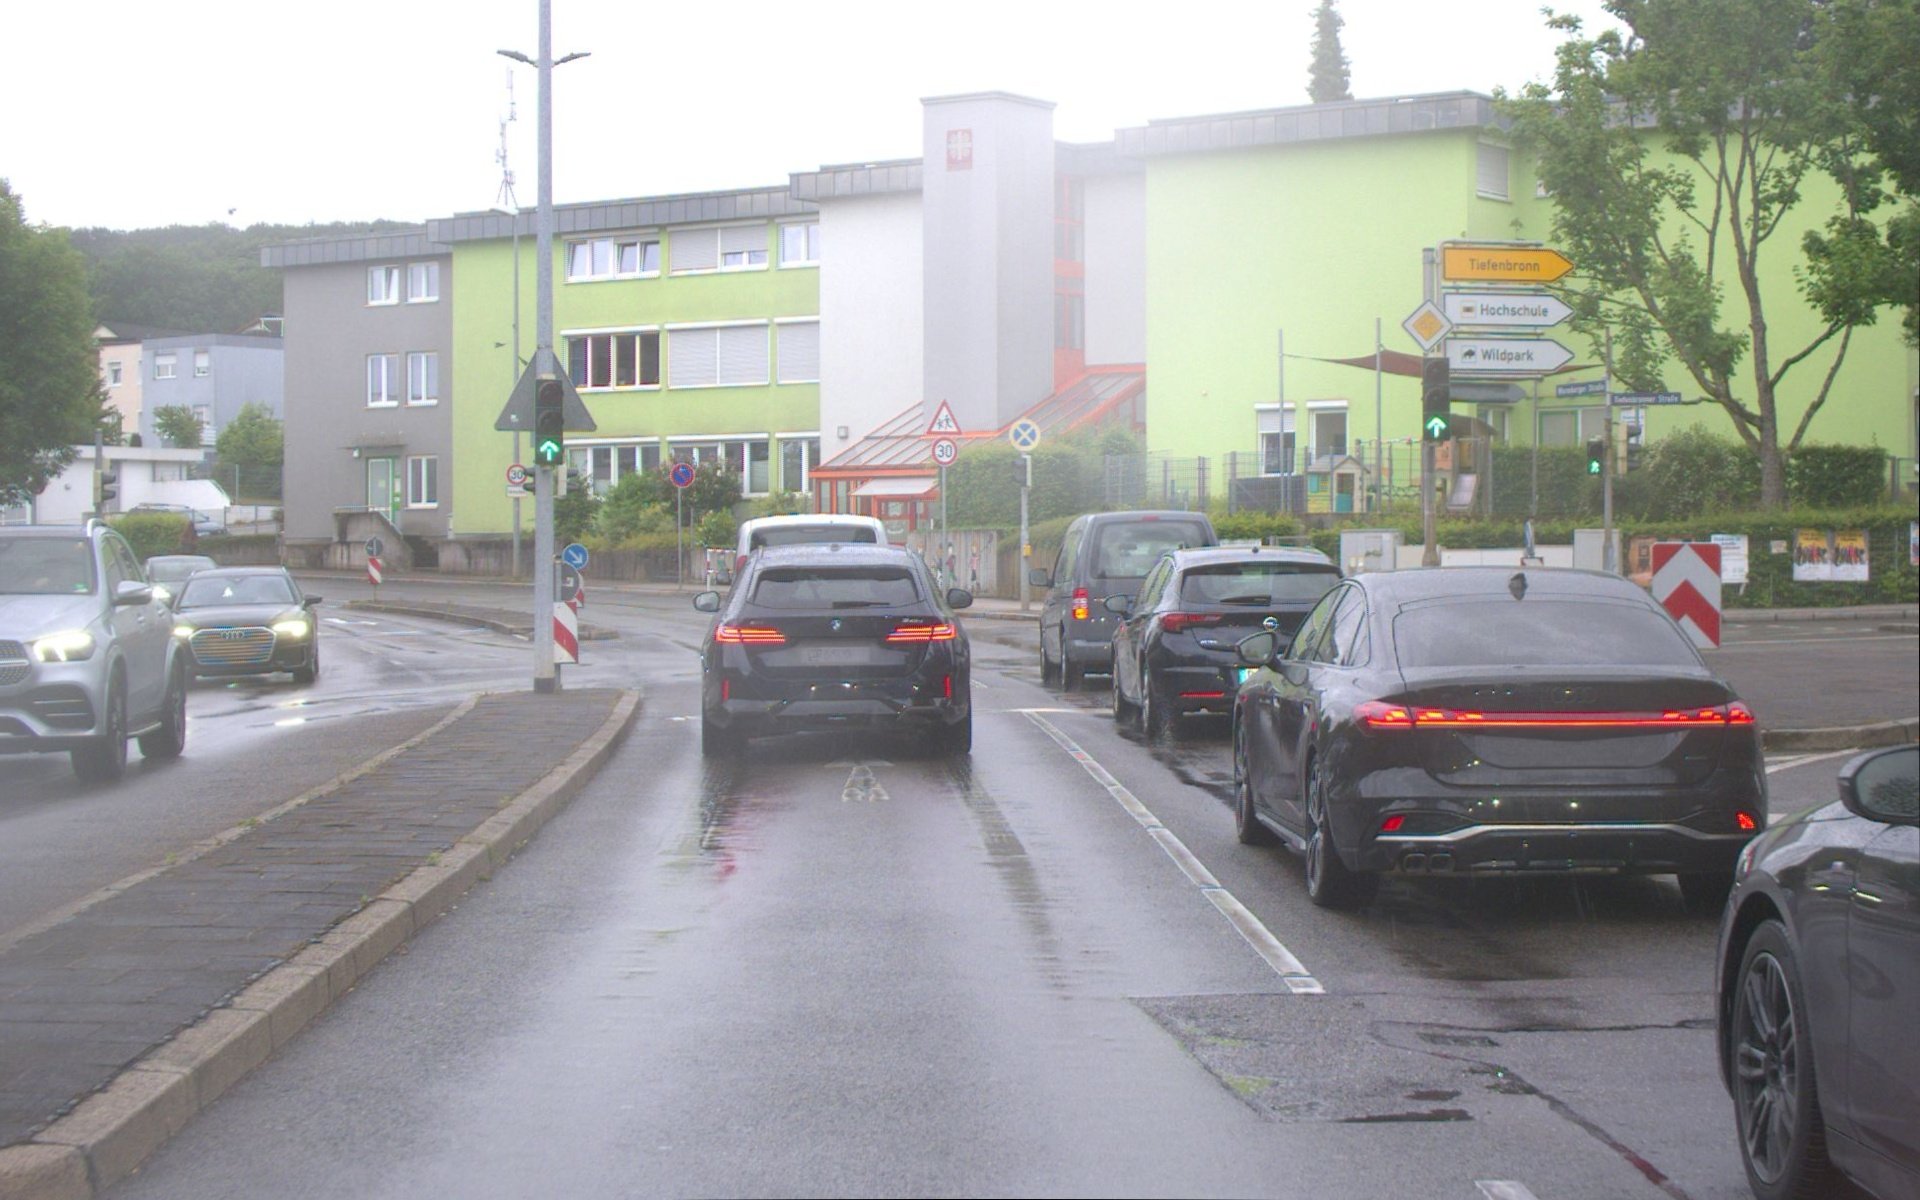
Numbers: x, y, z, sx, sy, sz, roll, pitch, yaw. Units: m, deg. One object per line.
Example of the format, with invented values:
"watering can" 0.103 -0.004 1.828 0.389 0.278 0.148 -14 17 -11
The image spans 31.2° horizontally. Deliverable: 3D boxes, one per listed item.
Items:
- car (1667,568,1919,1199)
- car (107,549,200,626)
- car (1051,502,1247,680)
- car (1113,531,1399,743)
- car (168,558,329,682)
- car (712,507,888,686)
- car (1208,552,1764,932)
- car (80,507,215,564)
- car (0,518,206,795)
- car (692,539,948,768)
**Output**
"car" 2.769 0.704 6.072 1.905 1.453 4.779 -1 1 -2
"car" -16.960 -0.284 72.424 1.792 1.484 4.155 -3 1 -13
"car" 1.922 -0.143 36.069 1.783 1.728 4.087 -1 2 0
"car" 2.254 0.230 27.149 1.850 1.481 4.087 -1 1 0
"car" -8.992 0.210 43.718 1.737 1.432 4.558 -2 1 -9
"car" -1.838 -0.095 38.499 1.716 1.838 4.088 -2 2 -5
"car" 2.229 0.527 15.731 1.706 1.422 4.509 -1 1 -2
"car" -28.549 -2.263 120.754 4.393 1.766 2.001 -3 1 -18
"car" -6.607 0.325 24.019 2.041 1.710 4.482 -2 2 -5
"car" -1.092 0.328 25.151 1.682 1.501 3.774 -1 1 -5
